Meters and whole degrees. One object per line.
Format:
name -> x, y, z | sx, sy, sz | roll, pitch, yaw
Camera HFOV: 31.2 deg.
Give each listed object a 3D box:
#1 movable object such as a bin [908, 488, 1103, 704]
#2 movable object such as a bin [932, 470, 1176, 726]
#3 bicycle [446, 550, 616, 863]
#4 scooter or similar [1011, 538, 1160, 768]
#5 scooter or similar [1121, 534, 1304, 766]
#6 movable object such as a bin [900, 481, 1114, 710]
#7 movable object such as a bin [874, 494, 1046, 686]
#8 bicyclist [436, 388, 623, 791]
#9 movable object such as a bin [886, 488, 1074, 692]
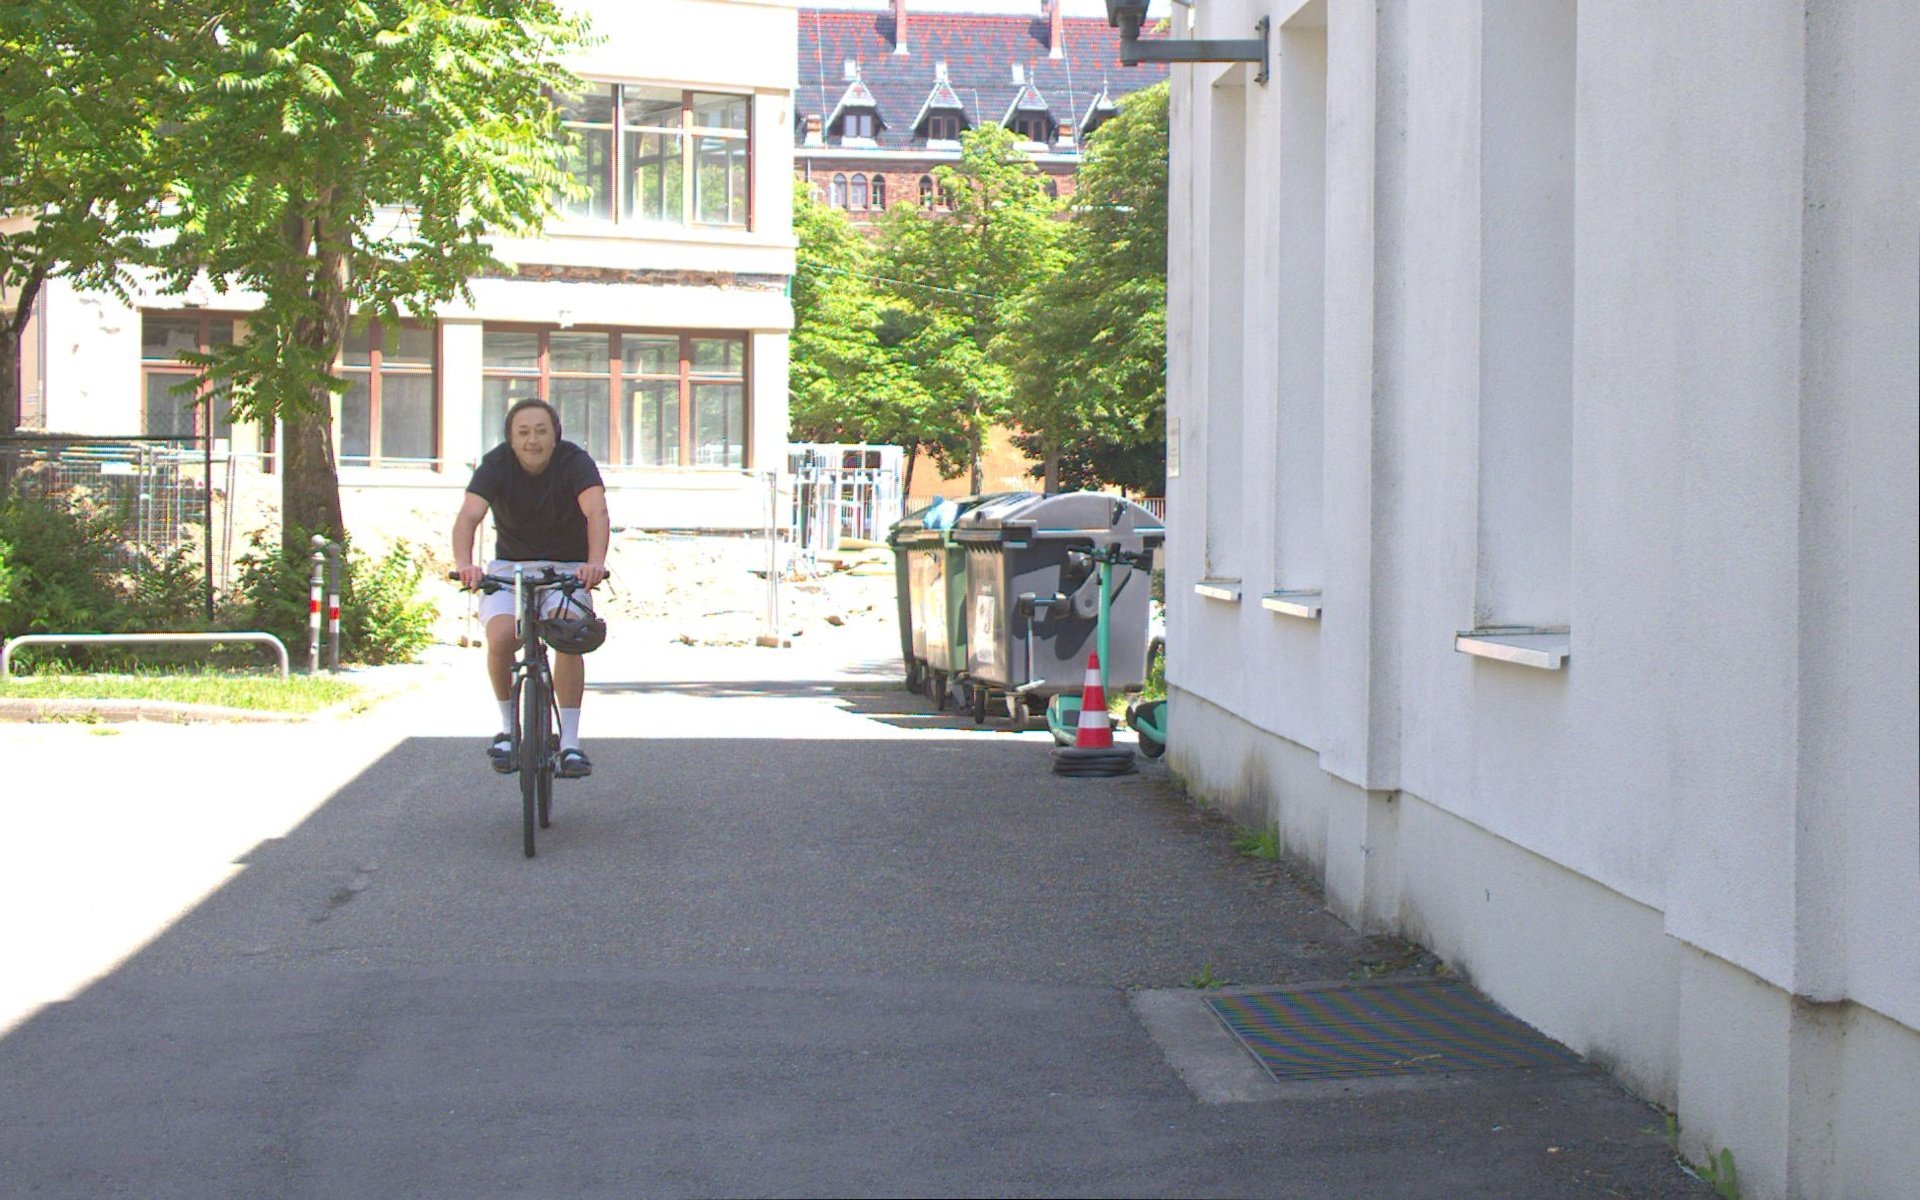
movable object such as a bin -> 0.302, -0.030, 24.153 | 1.178, 1.465, 1.312 | 1, 1, -7
movable object such as a bin -> 0.555, -0.018, 21.029 | 1.154, 1.500, 1.463 | 1, 1, -13
bicycle -> -1.789, 0.402, 14.263 | 0.643, 1.170, 1.905 | 0, 2, -8
scooter or similar -> 0.654, 0.258, 18.296 | 0.463, 1.170, 1.357 | 0, 1, -12
scooter or similar -> 1.312, 0.242, 18.071 | 0.463, 1.170, 1.256 | 0, 1, -21
movable object such as a bin -> 0.292, -0.035, 22.765 | 1.178, 1.465, 1.312 | 1, 1, -10
movable object such as a bin -> 0.015, -0.084, 27.122 | 1.179, 1.465, 1.332 | 1, 1, 8
bicyclist -> -1.784, -0.053, 14.230 | 0.722, 1.603, 0.978 | 1, 2, -7
movable object such as a bin -> 0.134, -0.076, 25.586 | 1.178, 1.465, 1.312 | 1, 1, -9
